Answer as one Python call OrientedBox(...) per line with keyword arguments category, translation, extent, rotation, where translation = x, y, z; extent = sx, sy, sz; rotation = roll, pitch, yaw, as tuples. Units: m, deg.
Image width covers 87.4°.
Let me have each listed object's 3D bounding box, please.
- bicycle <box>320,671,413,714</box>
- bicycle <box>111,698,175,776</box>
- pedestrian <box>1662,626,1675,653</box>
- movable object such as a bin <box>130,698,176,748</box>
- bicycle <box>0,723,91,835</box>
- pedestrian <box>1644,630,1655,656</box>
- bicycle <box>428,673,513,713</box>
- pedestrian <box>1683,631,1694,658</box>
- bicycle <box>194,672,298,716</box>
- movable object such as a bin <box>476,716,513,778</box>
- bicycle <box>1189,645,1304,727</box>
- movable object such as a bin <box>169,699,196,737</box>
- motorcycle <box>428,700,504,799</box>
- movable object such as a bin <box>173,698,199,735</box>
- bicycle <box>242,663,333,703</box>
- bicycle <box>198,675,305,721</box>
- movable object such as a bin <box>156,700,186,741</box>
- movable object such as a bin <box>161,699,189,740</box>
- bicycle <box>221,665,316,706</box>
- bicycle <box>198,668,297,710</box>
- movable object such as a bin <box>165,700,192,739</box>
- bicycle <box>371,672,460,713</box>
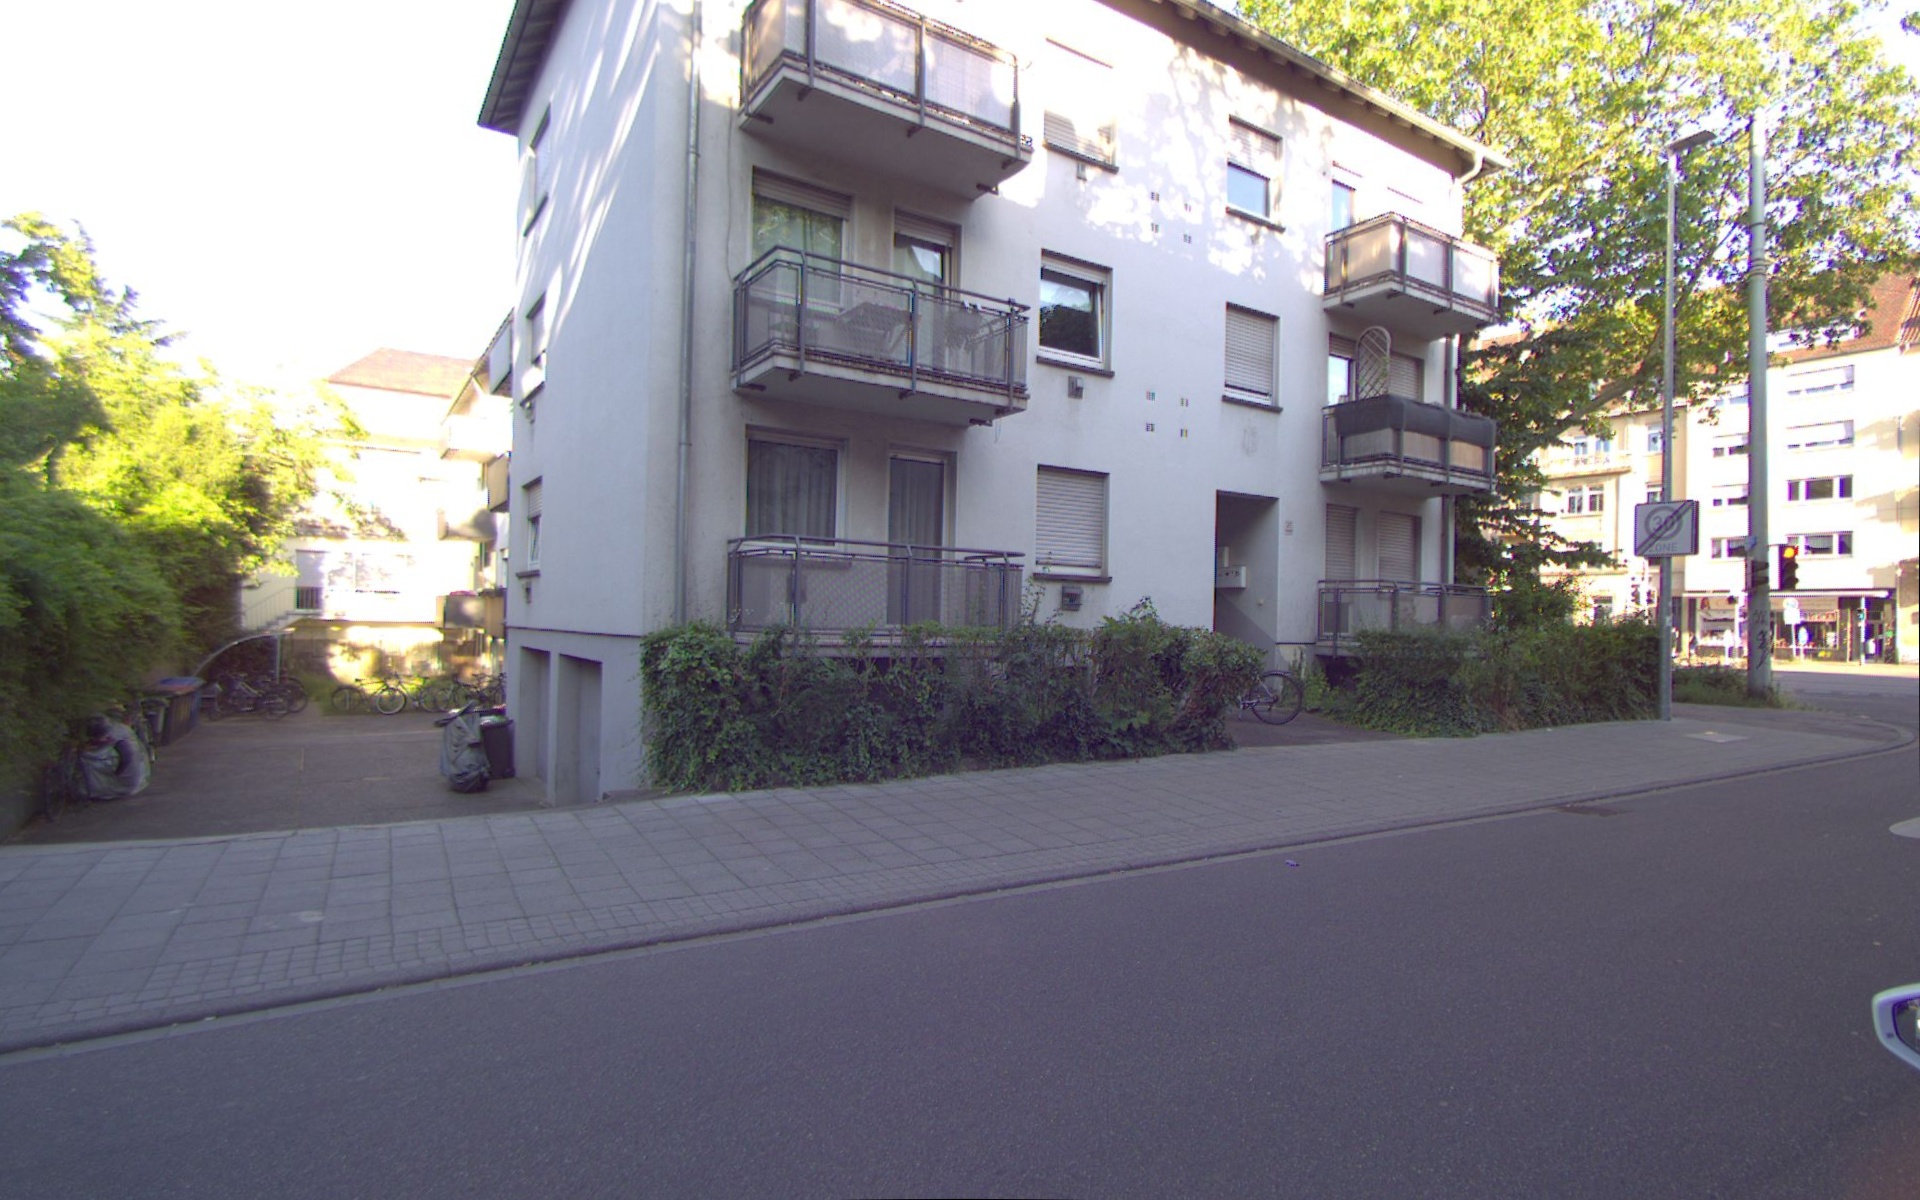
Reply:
OrientedBox(category="bicycle", translation=(-15.698, 2.455, 26.618), extent=(2.045, 1.034, 0.637), rotation=(4, 0, -30))
OrientedBox(category="bicycle", translation=(-13.226, 2.185, 16.298), extent=(0.509, 1.033, 1.922), rotation=(3, -1, -32))
OrientedBox(category="pedestrian", translation=(40.749, 2.259, 57.759), extent=(0.558, 1.531, 0.499), rotation=(0, -1, 41))
OrientedBox(category="movable object such as a bin", translation=(-14.956, 2.272, 18.625), extent=(0.570, 0.891, 0.491), rotation=(2, -4, -30))
OrientedBox(category="bicycle", translation=(-11.004, 2.098, 12.071), extent=(0.509, 1.033, 1.922), rotation=(3, -1, -32))
OrientedBox(category="pedestrian", translation=(41.019, 2.530, 59.728), extent=(0.501, 1.531, 0.535), rotation=(0, -1, 33))
OrientedBox(category="bicycle", translation=(-13.573, 2.582, 27.871), extent=(2.045, 1.034, 0.637), rotation=(4, 0, -30))
OrientedBox(category="pedestrian", translation=(41.852, 2.536, 57.702), extent=(0.467, 1.531, 0.429), rotation=(0, -1, 41))
OrientedBox(category="bicycle", translation=(-18.033, 2.379, 25.434), extent=(2.045, 1.034, 0.568), rotation=(4, 0, -30))
OrientedBox(category="movable object such as a bin", translation=(-7.506, 2.357, 16.188), extent=(0.428, 0.899, 0.720), rotation=(1, -2, -34))
OrientedBox(category="bicycle", translation=(3.878, 1.147, 13.620), extent=(1.433, 0.988, 0.407), rotation=(3, 0, 21))
OrientedBox(category="movable object such as a bin", translation=(-16.214, 2.455, 20.949), extent=(0.362, 0.768, 0.361), rotation=(2, -4, -30))
OrientedBox(category="motorcycle", translation=(-7.403, 2.193, 15.029), extent=(0.751, 1.268, 1.577), rotation=(1, -2, -36))
OrientedBox(category="movable object such as a bin", translation=(-16.408, 2.468, 21.290), extent=(0.362, 0.768, 0.361), rotation=(2, -4, -30))
OrientedBox(category="bicycle", translation=(-19.056, 2.364, 28.511), extent=(2.045, 1.034, 0.564), rotation=(4, 0, -30))
OrientedBox(category="bicycle", translation=(-17.281, 2.397, 24.555), extent=(2.045, 1.034, 0.637), rotation=(4, 0, -30))
OrientedBox(category="movable object such as a bin", translation=(-15.656, 2.387, 19.935), extent=(0.393, 0.784, 0.361), rotation=(2, -4, -30))
OrientedBox(category="movable object such as a bin", translation=(-15.839, 2.408, 20.276), extent=(0.377, 0.784, 0.361), rotation=(2, -4, -30))
OrientedBox(category="bicycle", translation=(-19.007, 2.361, 27.656), extent=(2.045, 1.034, 0.611), rotation=(4, 0, -30))
OrientedBox(category="bicycle", translation=(-18.865, 2.360, 26.660), extent=(2.045, 1.034, 0.611), rotation=(4, 0, -30))
OrientedBox(category="movable object such as a bin", translation=(-16.028, 2.438, 20.608), extent=(0.371, 0.768, 0.361), rotation=(2, -4, -30))
OrientedBox(category="bicycle", translation=(-14.733, 2.509, 27.192), extent=(2.045, 1.034, 0.637), rotation=(4, 0, -30))
